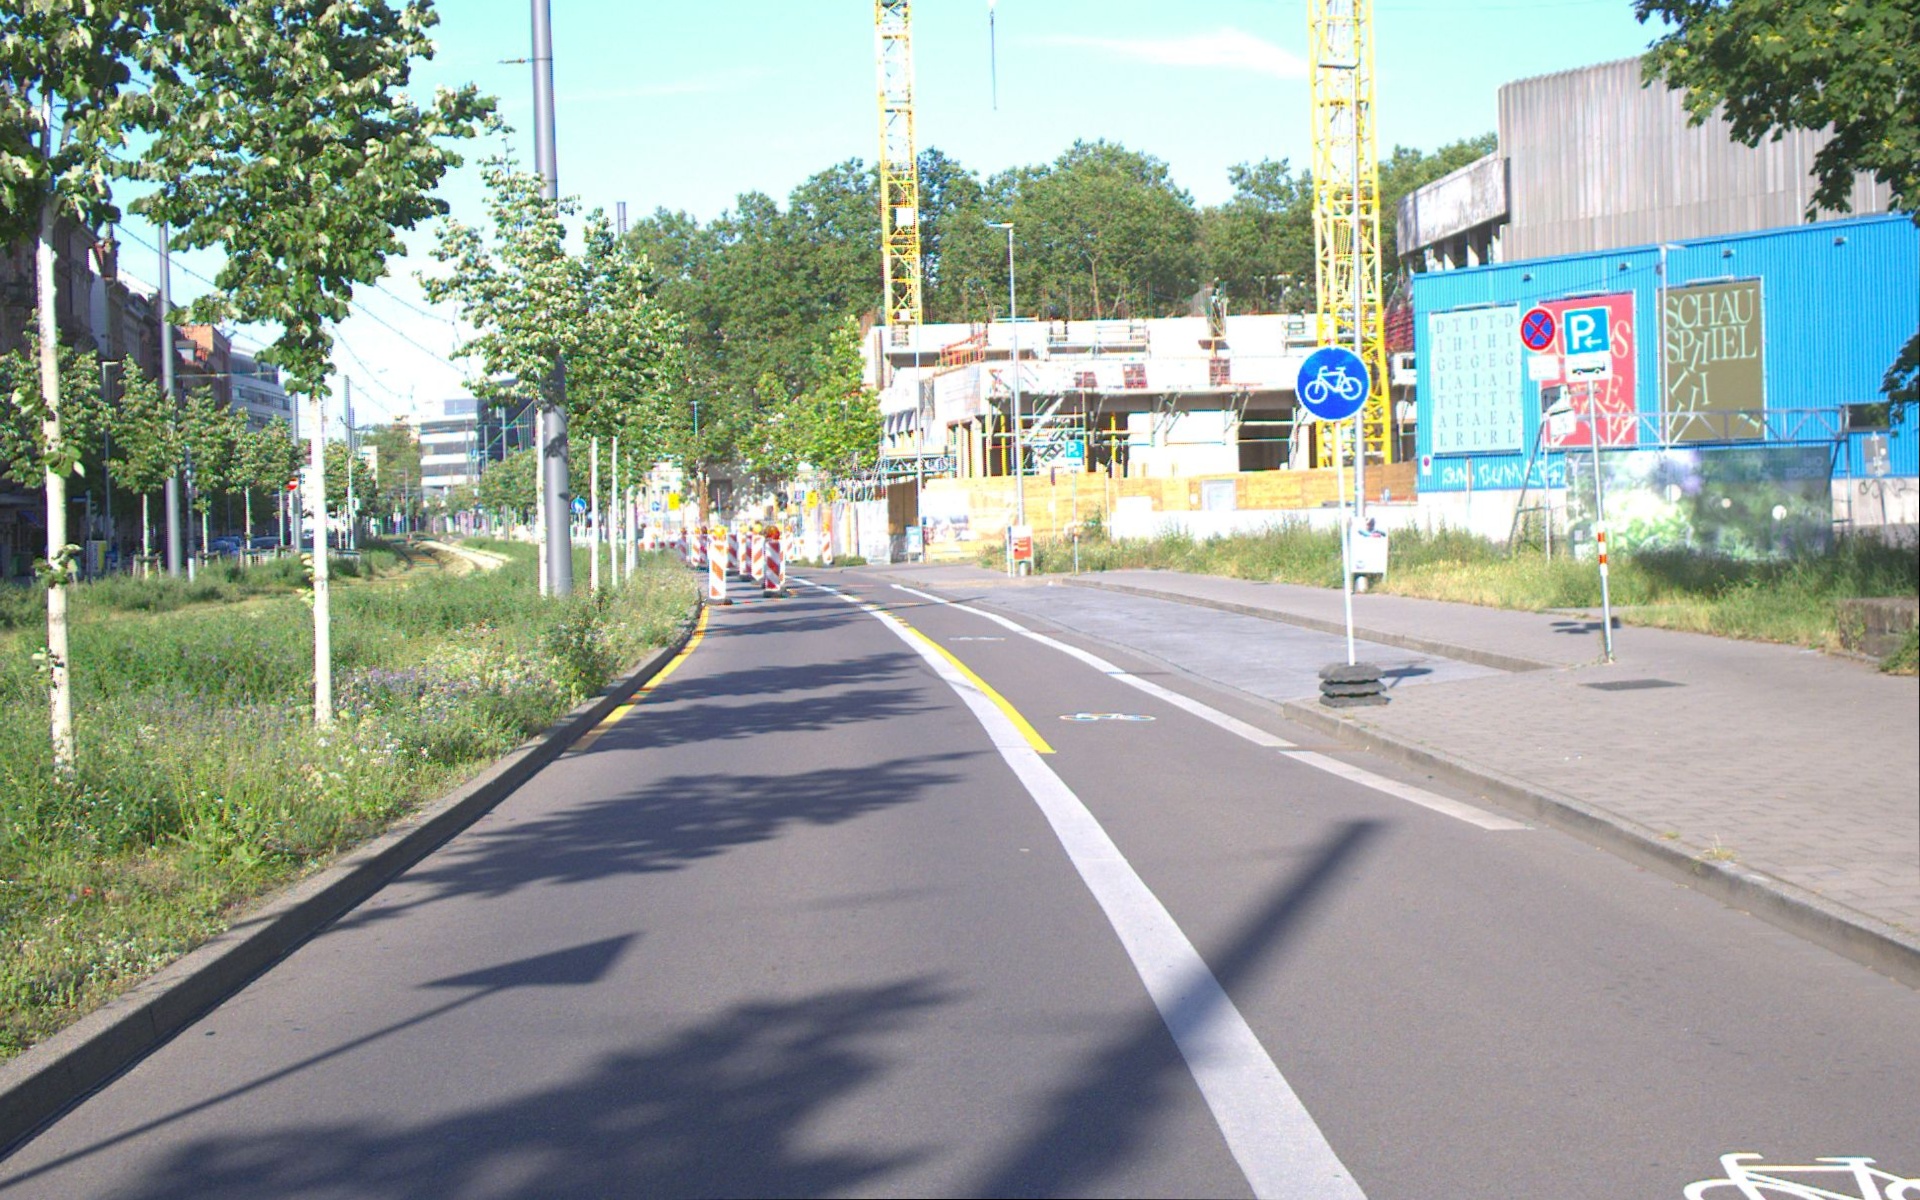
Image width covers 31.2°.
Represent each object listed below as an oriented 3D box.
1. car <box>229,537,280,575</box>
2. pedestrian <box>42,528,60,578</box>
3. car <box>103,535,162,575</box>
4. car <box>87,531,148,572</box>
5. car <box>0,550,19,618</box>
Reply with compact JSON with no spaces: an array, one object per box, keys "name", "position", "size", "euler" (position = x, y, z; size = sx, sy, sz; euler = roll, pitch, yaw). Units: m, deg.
[{"name":"car","position":[-30.838,-1.922,150.275],"size":[1.903,1.570,4.302],"euler":[-2,1,-8]},{"name":"pedestrian","position":[-35.109,-1.817,132.830],"size":[0.550,1.940,0.650],"euler":[-2,1,-9]},{"name":"car","position":[-34.076,-1.866,141.650],"size":[1.903,1.570,4.302],"euler":[-2,1,-8]},{"name":"car","position":[-33.387,-1.937,136.345],"size":[1.903,1.570,4.302],"euler":[-2,1,-8]},{"name":"car","position":[-23.371,-0.323,79.924],"size":[1.903,1.570,4.302],"euler":[-2,1,-2]}]
